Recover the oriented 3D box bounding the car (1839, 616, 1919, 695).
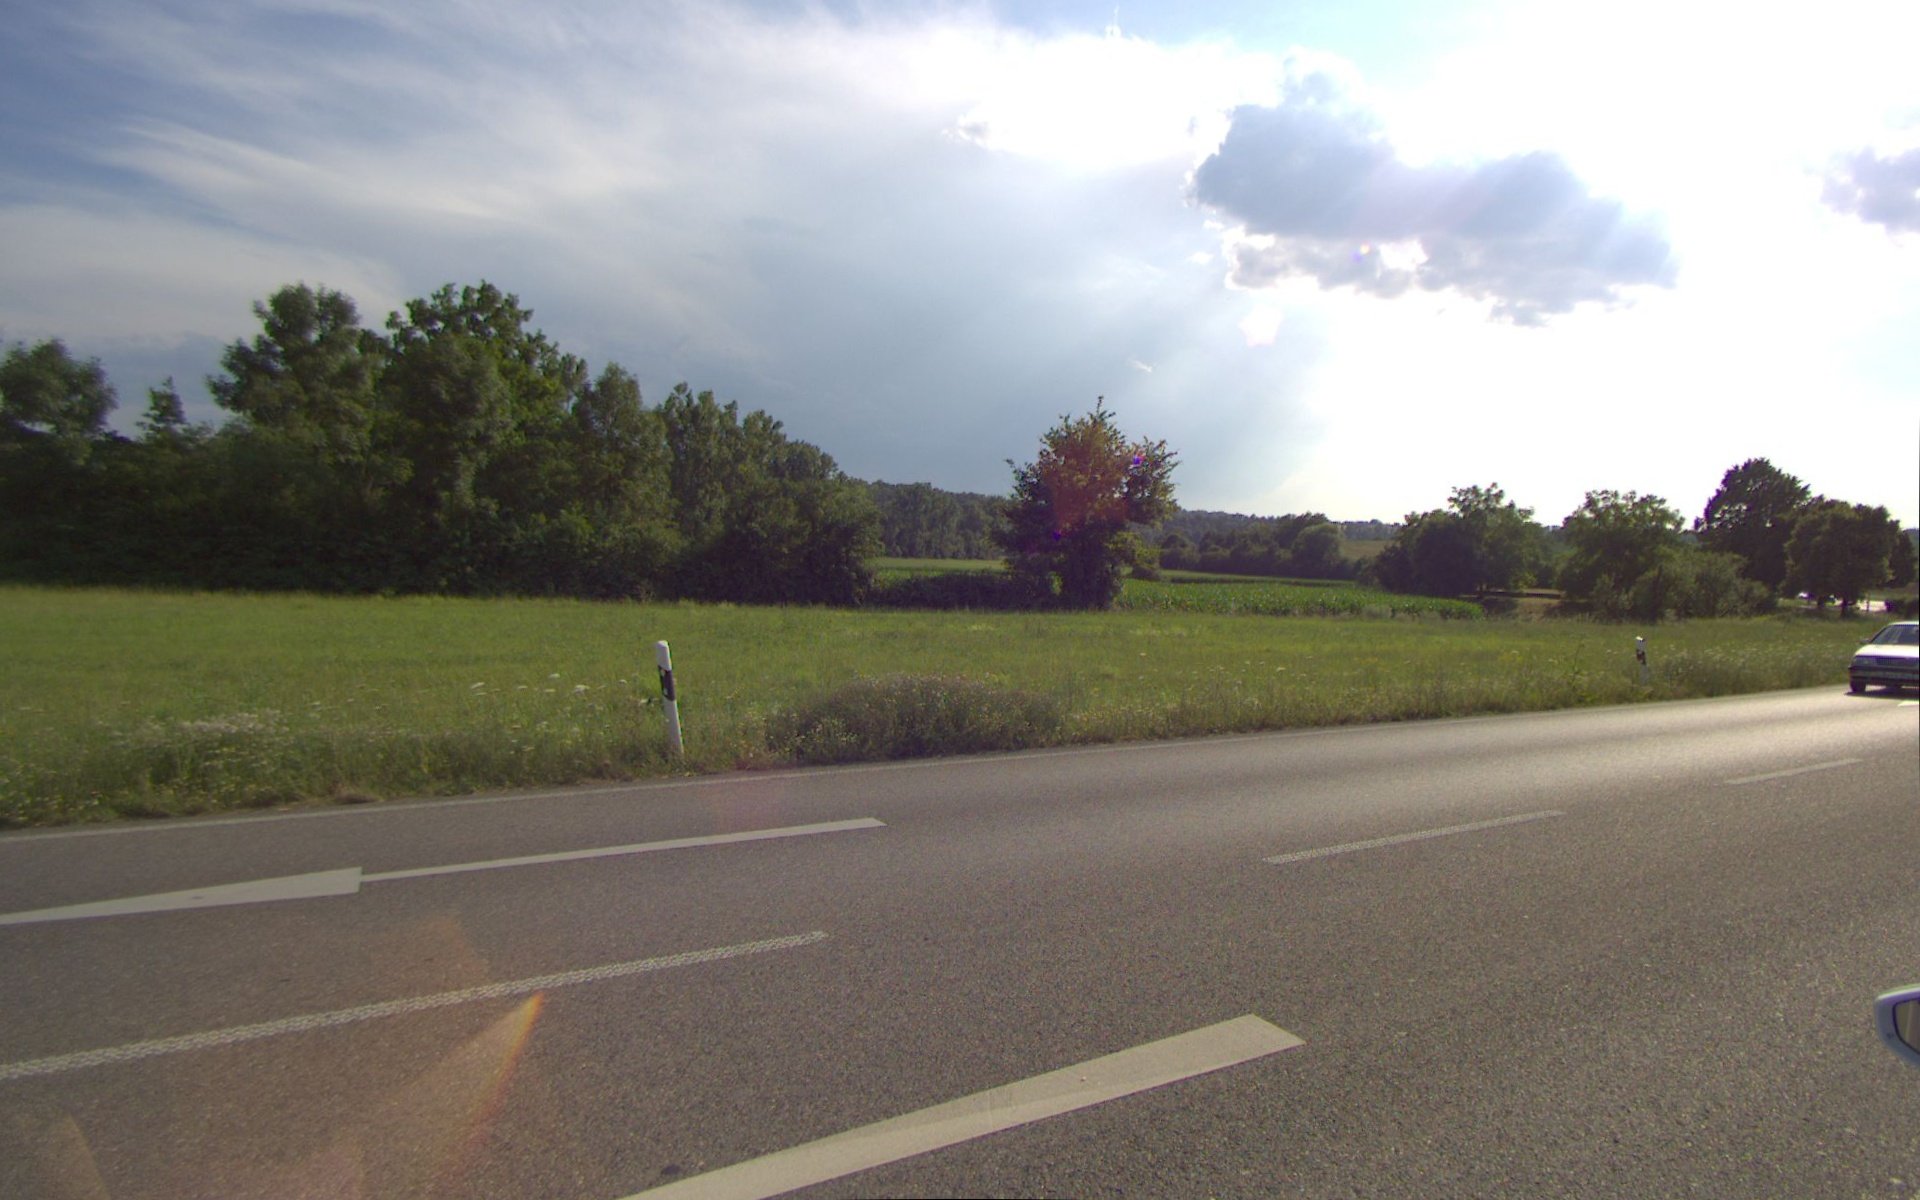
[{"bbox_3d":[19.547,1.091,20.394,4.138,1.447,1.695,1,0,-36],"label":"car"}]
